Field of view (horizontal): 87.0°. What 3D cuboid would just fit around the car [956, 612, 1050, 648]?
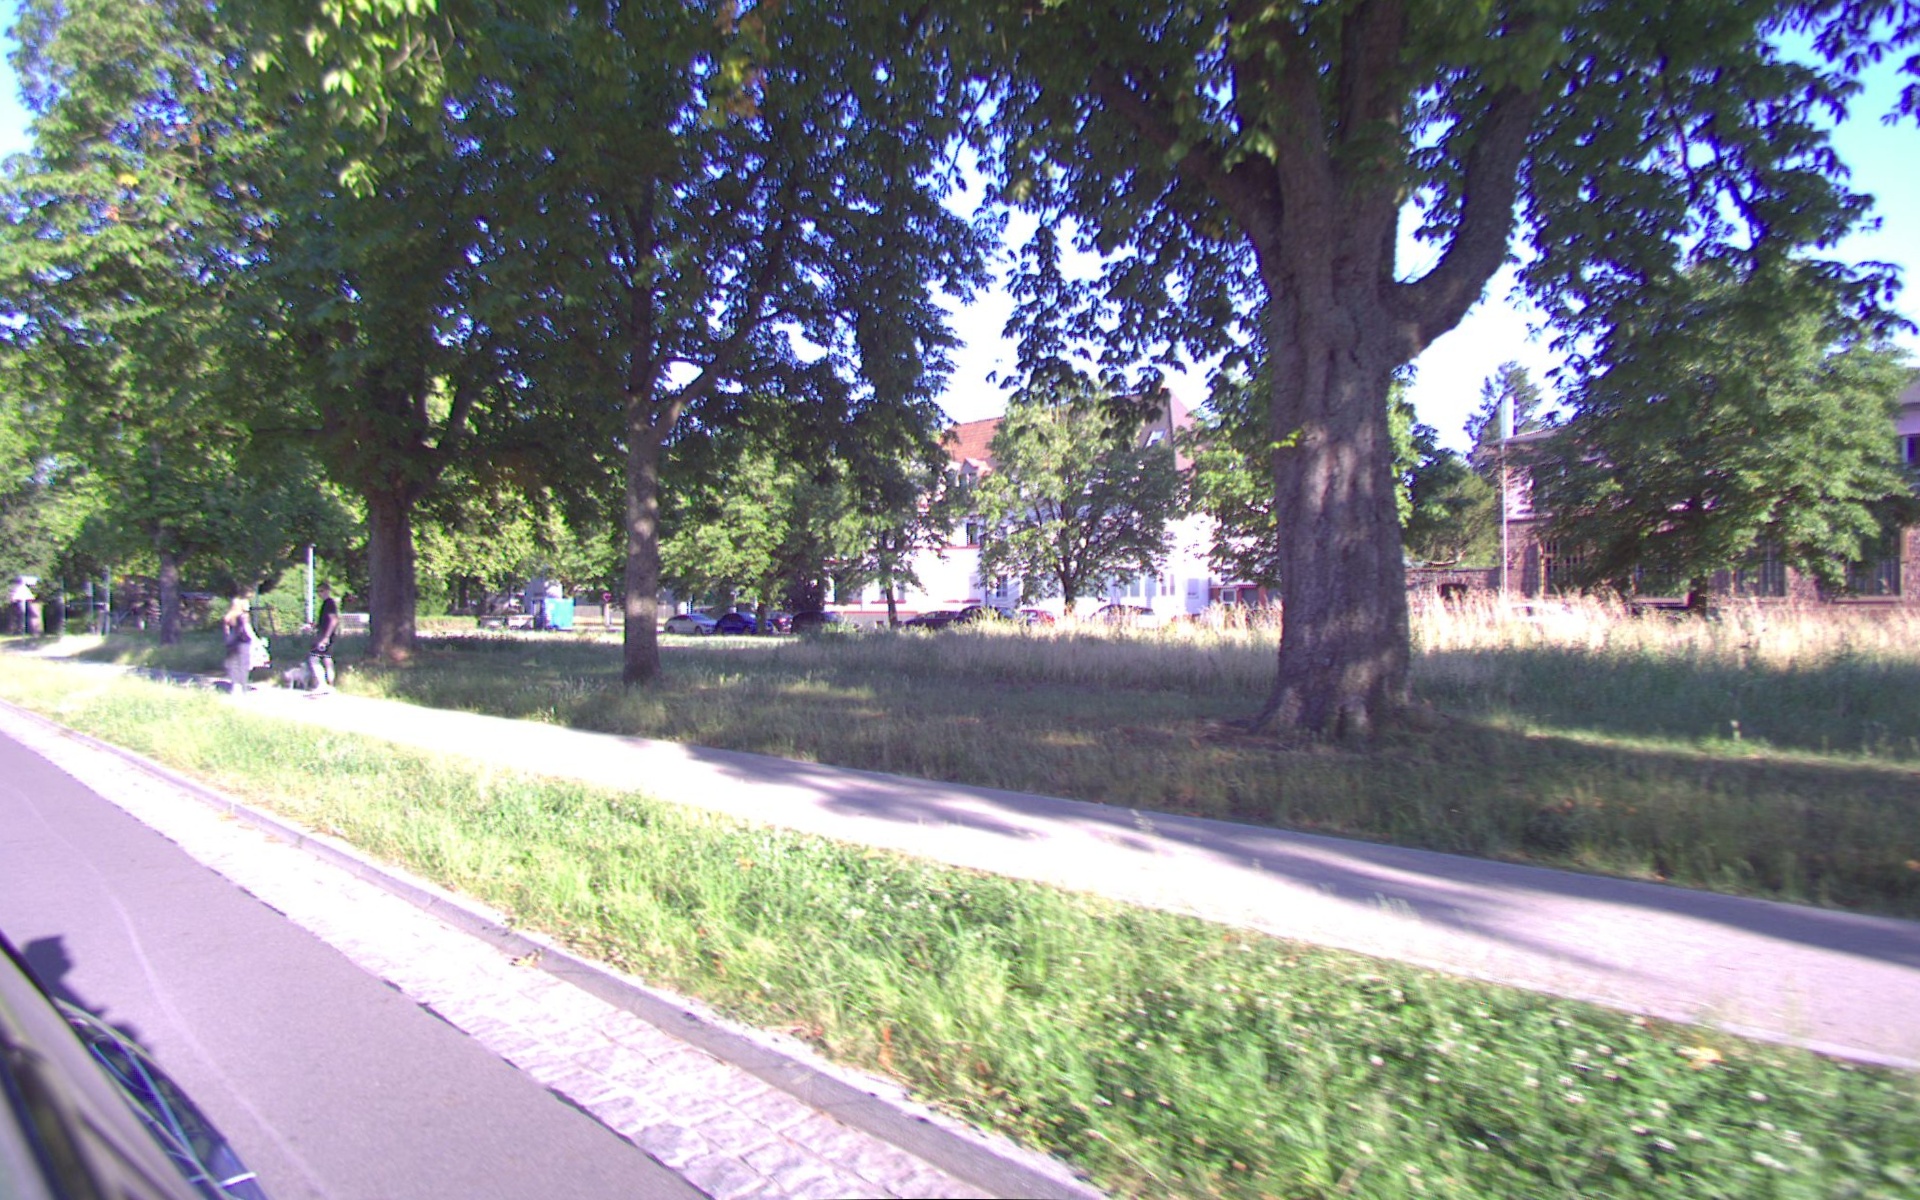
[{"bbox_3d":[1.946,1.375,46.555,4.218,1.609,1.675,-2,-1,41],"label":"car"}]

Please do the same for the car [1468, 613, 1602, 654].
[{"bbox_3d":[20.915,1.217,36.919,3.998,1.416,1.612,-2,-1,41],"label":"car"}]

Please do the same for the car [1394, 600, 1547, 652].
[{"bbox_3d":[16.750,0.869,33.312,4.218,1.609,1.675,-2,-1,41],"label":"car"}]

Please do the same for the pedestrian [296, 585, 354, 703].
[{"bbox_3d":[-10.343,0.704,16.476,0.886,1.845,0.617,-2,-2,45],"label":"pedestrian"}]

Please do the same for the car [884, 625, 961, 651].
[{"bbox_3d":[-2.143,2.089,56.777,4.480,1.342,1.553,-1,0,43],"label":"car"}]

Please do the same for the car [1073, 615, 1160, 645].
[{"bbox_3d":[7.431,1.405,48.199,3.851,1.342,1.553,-1,0,43],"label":"car"}]

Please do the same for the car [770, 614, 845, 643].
[{"bbox_3d":[-8.376,1.563,55.430,4.217,1.487,1.676,-2,-1,40],"label":"car"}]

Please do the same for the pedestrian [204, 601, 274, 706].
[{"bbox_3d":[-11.639,0.848,16.341,0.952,1.627,0.774,-2,-2,45],"label":"pedestrian"}]

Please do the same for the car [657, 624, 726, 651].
[{"bbox_3d":[-16.754,2.311,63.129,4.750,1.609,1.676,-2,-1,38],"label":"car"}]

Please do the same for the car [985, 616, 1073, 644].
[{"bbox_3d":[3.479,1.542,51.755,4.478,1.342,1.553,-1,0,43],"label":"car"}]

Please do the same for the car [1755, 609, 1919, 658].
[{"bbox_3d":[27.160,1.022,31.267,3.998,1.416,1.612,-2,-1,41],"label":"car"}]

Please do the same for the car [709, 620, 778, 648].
[{"bbox_3d":[-12.794,2.000,59.766,4.216,1.609,1.676,-2,-1,38],"label":"car"}]

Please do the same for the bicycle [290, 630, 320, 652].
[{"bbox_3d":[-38.313,2.392,59.217,0.417,1.196,1.579,0,-1,18],"label":"bicycle"}]

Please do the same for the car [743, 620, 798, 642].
[{"bbox_3d":[-12.387,2.011,66.132,3.851,1.342,1.553,-1,0,43],"label":"car"}]
